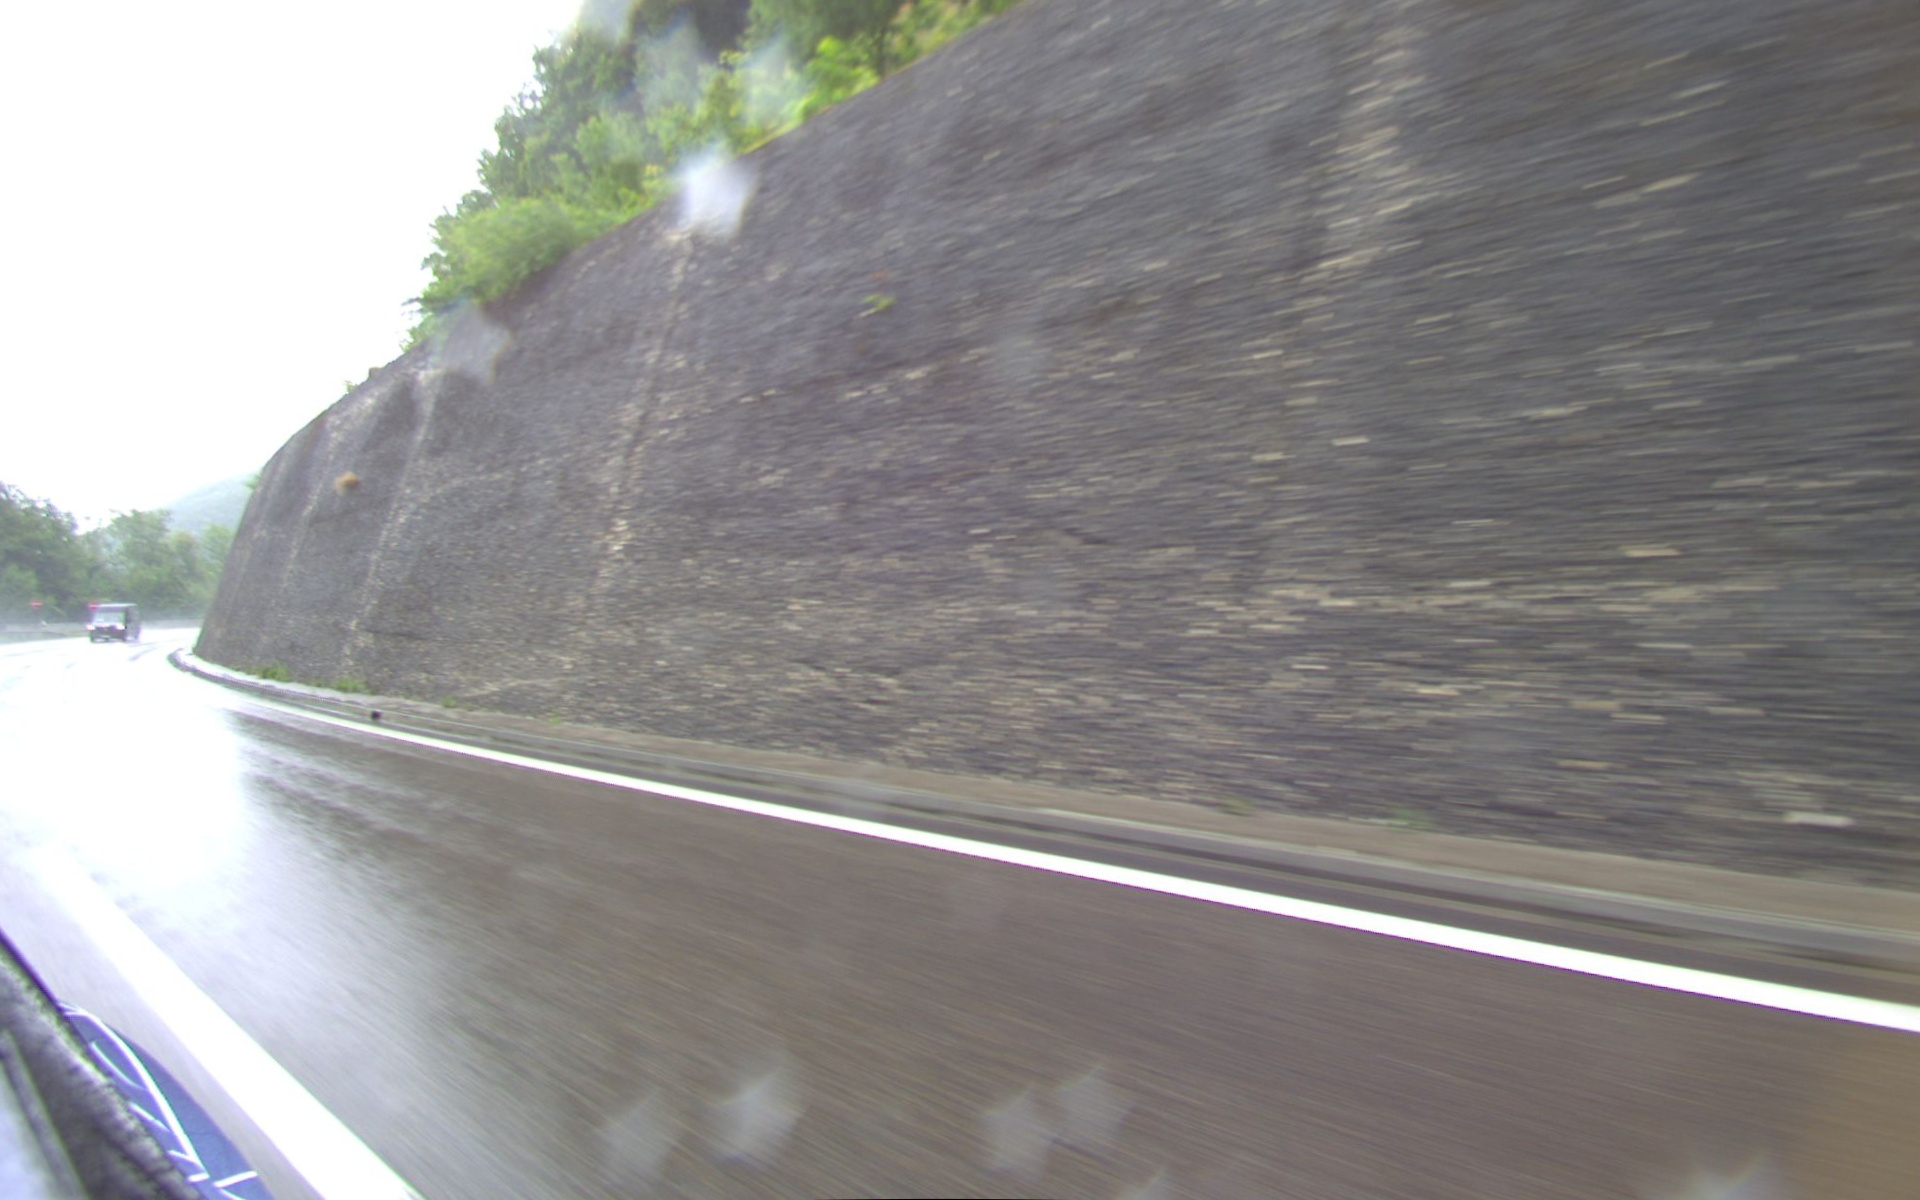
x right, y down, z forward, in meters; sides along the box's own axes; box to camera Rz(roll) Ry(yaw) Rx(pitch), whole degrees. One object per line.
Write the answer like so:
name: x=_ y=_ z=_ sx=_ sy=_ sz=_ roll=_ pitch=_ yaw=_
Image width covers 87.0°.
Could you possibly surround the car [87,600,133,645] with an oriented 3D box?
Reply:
car: x=-59.384 y=1.578 z=70.753 sx=1.713 sy=3.048 sz=4.012 roll=1 pitch=-1 yaw=-29
